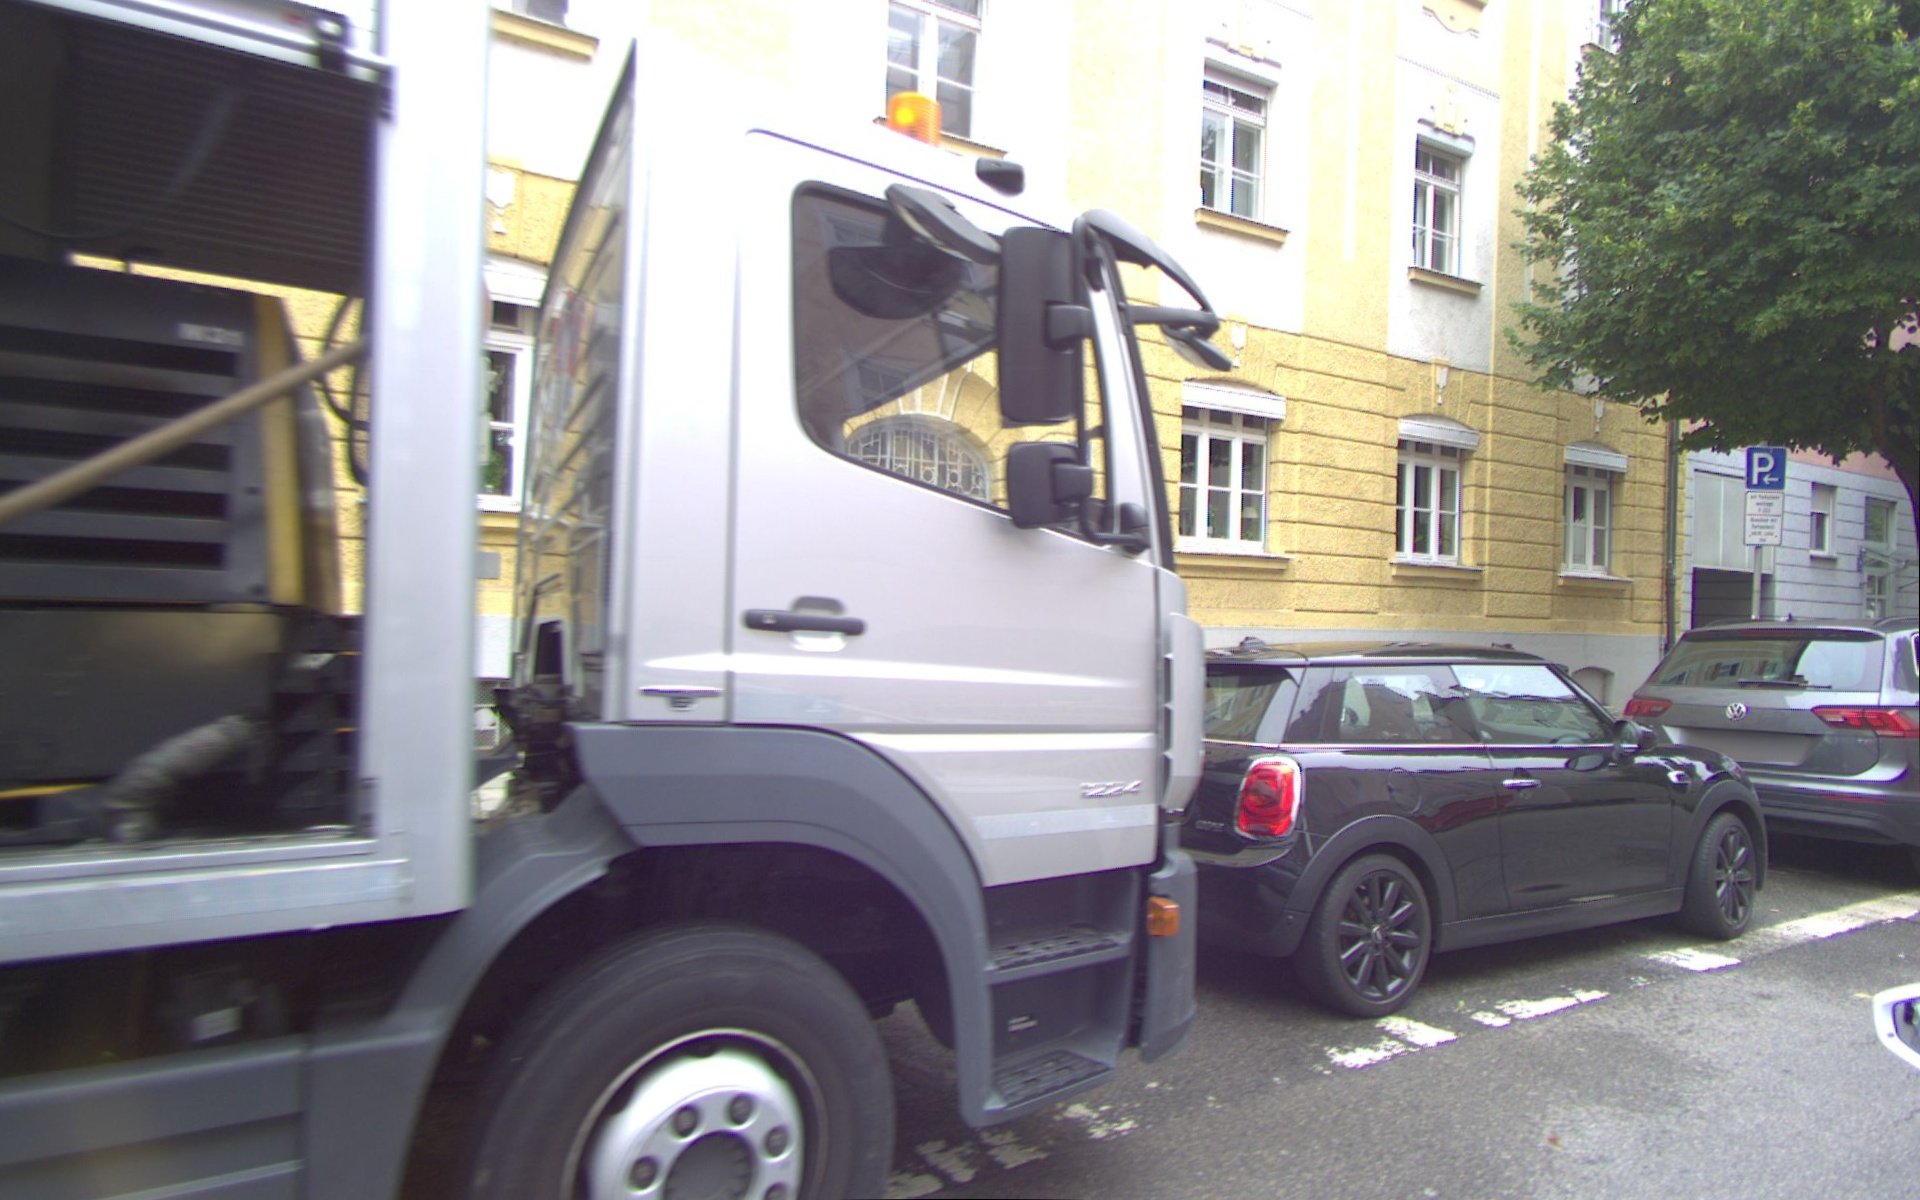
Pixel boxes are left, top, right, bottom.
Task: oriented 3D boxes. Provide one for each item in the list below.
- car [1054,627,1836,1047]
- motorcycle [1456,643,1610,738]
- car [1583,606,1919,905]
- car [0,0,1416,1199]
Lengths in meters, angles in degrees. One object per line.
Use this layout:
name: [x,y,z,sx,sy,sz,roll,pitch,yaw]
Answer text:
car: [2.480,0.891,5.066,3.660,1.428,1.693,2,-1,-27]
motorcycle: [7.526,1.144,13.146,2.400,1.142,0.635,1,-1,-30]
car: [6.657,0.921,7.324,4.132,1.650,1.778,1,-2,-28]
car: [-3.317,-0.512,1.588,8.617,3.868,2.800,2,-1,-29]
